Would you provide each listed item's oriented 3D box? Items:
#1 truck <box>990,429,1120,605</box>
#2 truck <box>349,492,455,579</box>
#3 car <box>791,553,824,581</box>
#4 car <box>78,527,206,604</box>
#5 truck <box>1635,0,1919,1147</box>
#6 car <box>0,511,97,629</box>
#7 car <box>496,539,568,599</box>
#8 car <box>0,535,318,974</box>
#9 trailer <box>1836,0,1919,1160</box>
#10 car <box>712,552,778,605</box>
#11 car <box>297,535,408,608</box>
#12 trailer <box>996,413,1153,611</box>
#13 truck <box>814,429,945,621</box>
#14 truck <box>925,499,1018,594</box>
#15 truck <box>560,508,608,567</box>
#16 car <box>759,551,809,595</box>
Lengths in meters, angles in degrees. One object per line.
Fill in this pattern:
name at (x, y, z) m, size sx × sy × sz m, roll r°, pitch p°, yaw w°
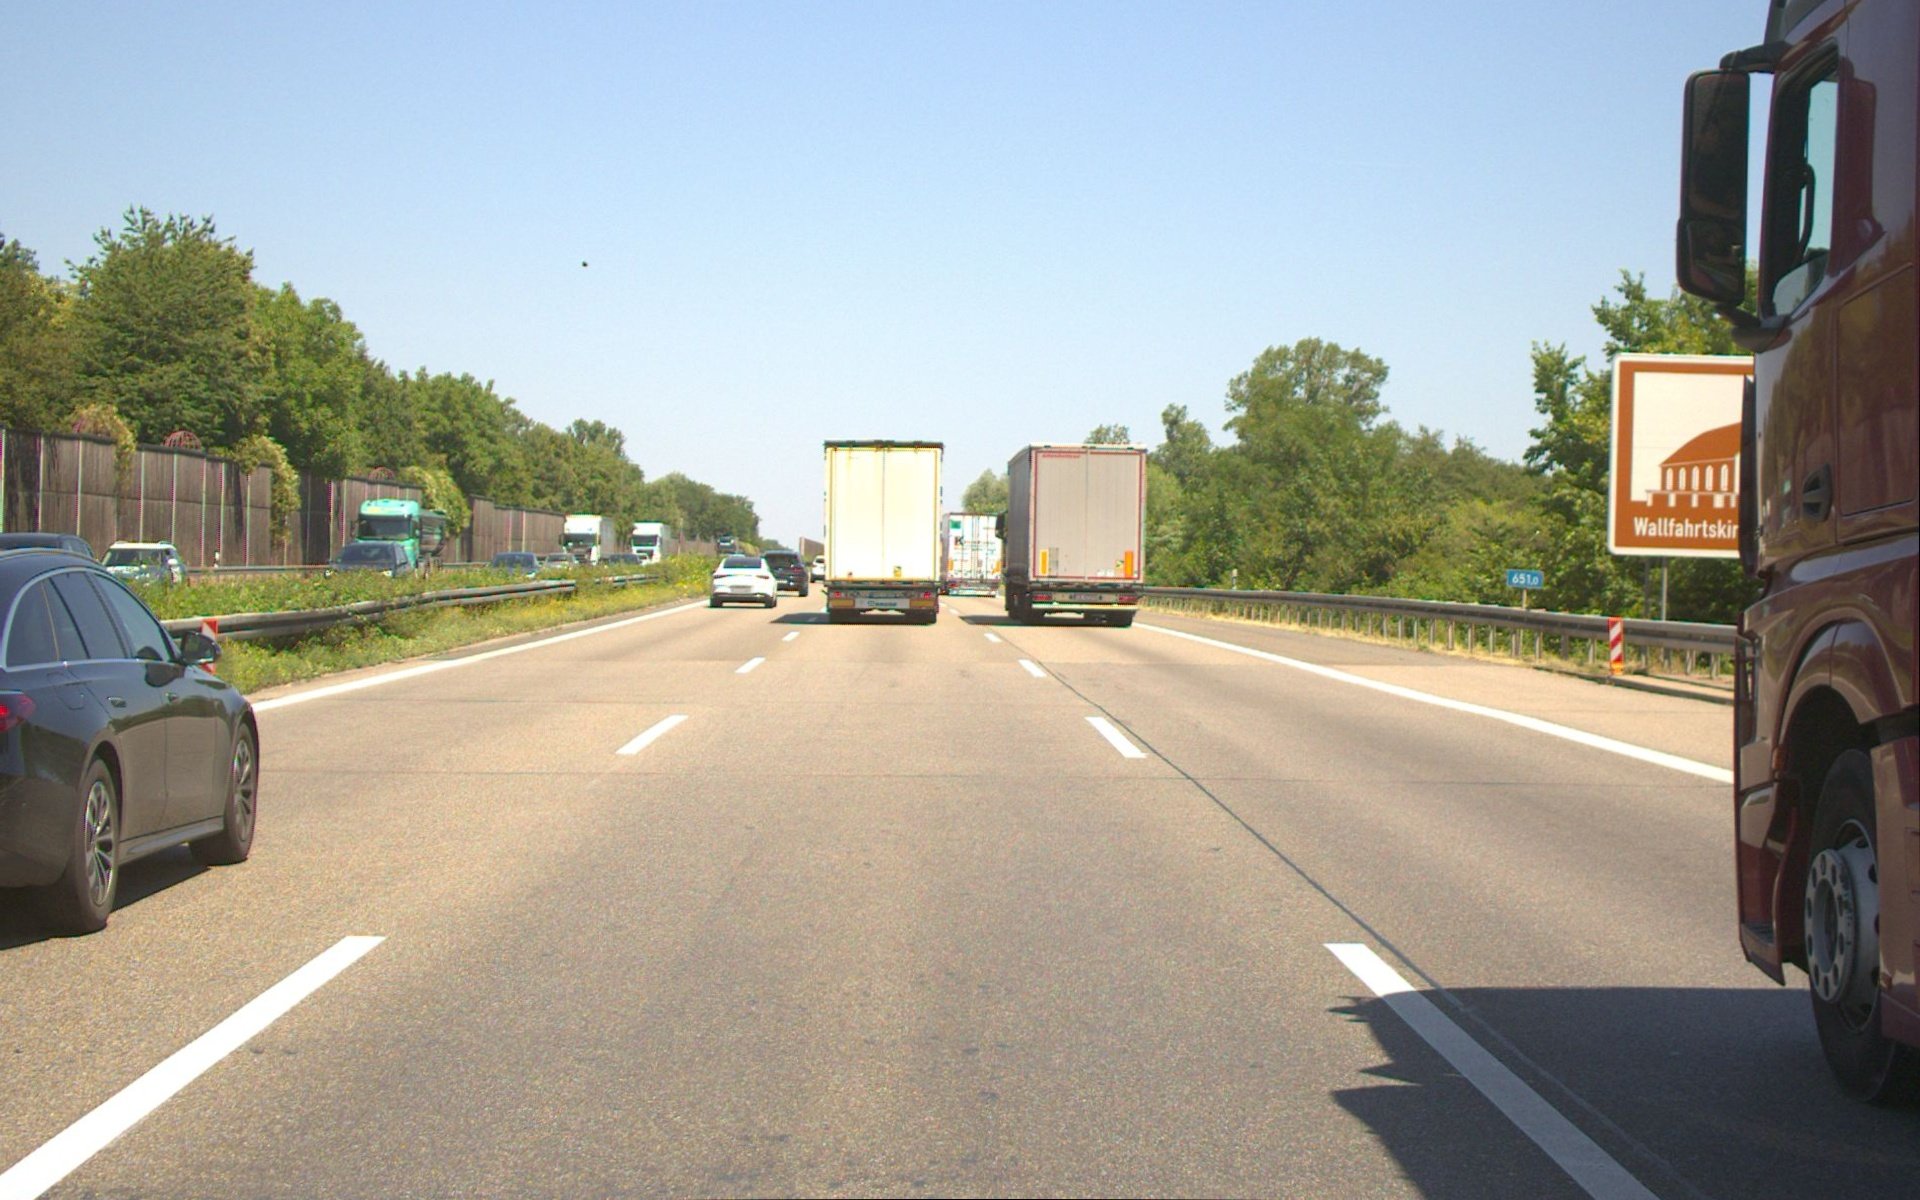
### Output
truck at (2.350, -2.061, 87.464) m, size 2.691 × 4.201 × 7.839 m, roll 2°, pitch 1°, yaw -2°
truck at (-24.978, -2.865, 154.400) m, size 3.089 × 3.663 × 12.369 m, roll 1°, pitch 1°, yaw -2°
car at (-9.242, -1.993, 207.976) m, size 1.855 × 1.611 × 4.001 m, roll 1°, pitch 1°, yaw -4°
car at (-19.106, -0.809, 80.462) m, size 1.993 × 1.714 × 4.533 m, roll 1°, pitch 1°, yaw -1°
truck at (3.663, -0.716, 8.016) m, size 2.707 × 4.074 × 6.965 m, roll 1°, pitch 1°, yaw 0°
car at (-14.597, -0.472, 52.137) m, size 1.993 × 1.714 × 4.245 m, roll 1°, pitch 1°, yaw -1°
car at (-15.047, -1.091, 120.955) m, size 1.993 × 1.941 × 4.000 m, roll 4°, pitch 1°, yaw -1°
car at (-4.252, 0.476, 14.727) m, size 1.943 × 1.501 × 5.821 m, roll 1°, pitch 1°, yaw 0°
trailer at (3.747, -0.597, 1.807) m, size 2.707 × 4.074 × 14.152 m, roll 1°, pitch 1°, yaw -1°
car at (-6.264, -0.631, 99.869) m, size 1.855 × 1.481 × 4.001 m, roll 1°, pitch 1°, yaw -4°
car at (-14.930, -0.705, 84.677) m, size 1.993 × 1.714 × 4.533 m, roll 1°, pitch 1°, yaw -1°
trailer at (2.564, -1.994, 81.372) m, size 2.703 × 4.201 × 13.213 m, roll 2°, pitch 1°, yaw -2°
truck at (-1.961, -1.704, 80.963) m, size 2.707 × 4.072 × 13.475 m, roll 2°, pitch 1°, yaw -2°
truck at (0.500, -2.637, 168.384) m, size 3.374 × 4.289 × 11.452 m, roll 4°, pitch 1°, yaw -4°
truck at (-26.720, -4.422, 244.351) m, size 2.757 × 4.008 × 6.735 m, roll 2°, pitch 1°, yaw -2°
car at (-6.731, -1.052, 131.619) m, size 1.855 × 1.611 × 4.001 m, roll 1°, pitch 1°, yaw -3°
